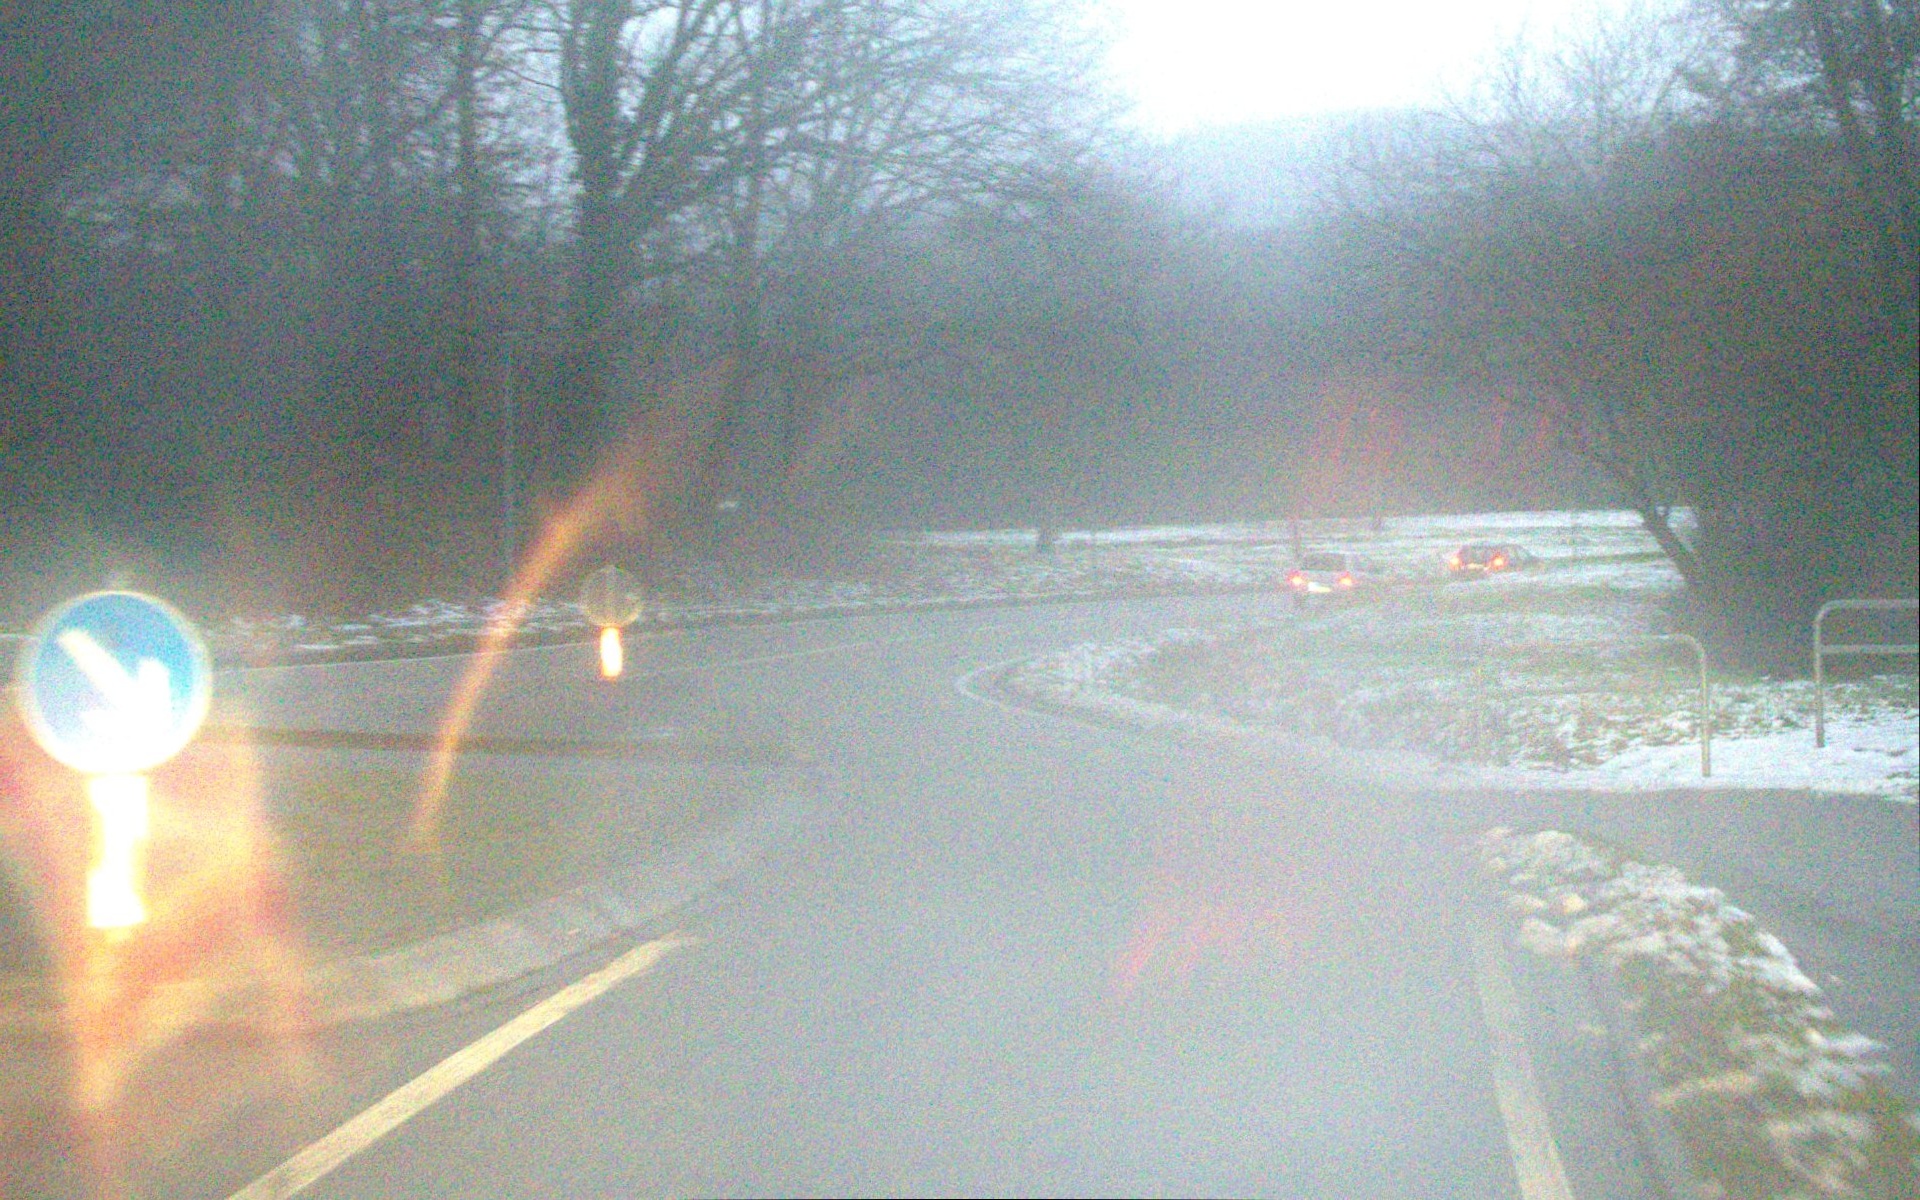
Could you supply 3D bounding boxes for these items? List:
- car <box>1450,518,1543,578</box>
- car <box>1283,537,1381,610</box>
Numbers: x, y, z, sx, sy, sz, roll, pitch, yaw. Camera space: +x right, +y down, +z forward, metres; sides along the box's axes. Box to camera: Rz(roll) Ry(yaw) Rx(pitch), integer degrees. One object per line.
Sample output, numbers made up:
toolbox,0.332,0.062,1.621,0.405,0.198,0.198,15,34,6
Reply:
car,15.346,-1.503,98.189,1.935,1.670,3.996,1,1,19
car,9.370,-0.698,86.420,1.934,1.775,3.998,1,1,14
